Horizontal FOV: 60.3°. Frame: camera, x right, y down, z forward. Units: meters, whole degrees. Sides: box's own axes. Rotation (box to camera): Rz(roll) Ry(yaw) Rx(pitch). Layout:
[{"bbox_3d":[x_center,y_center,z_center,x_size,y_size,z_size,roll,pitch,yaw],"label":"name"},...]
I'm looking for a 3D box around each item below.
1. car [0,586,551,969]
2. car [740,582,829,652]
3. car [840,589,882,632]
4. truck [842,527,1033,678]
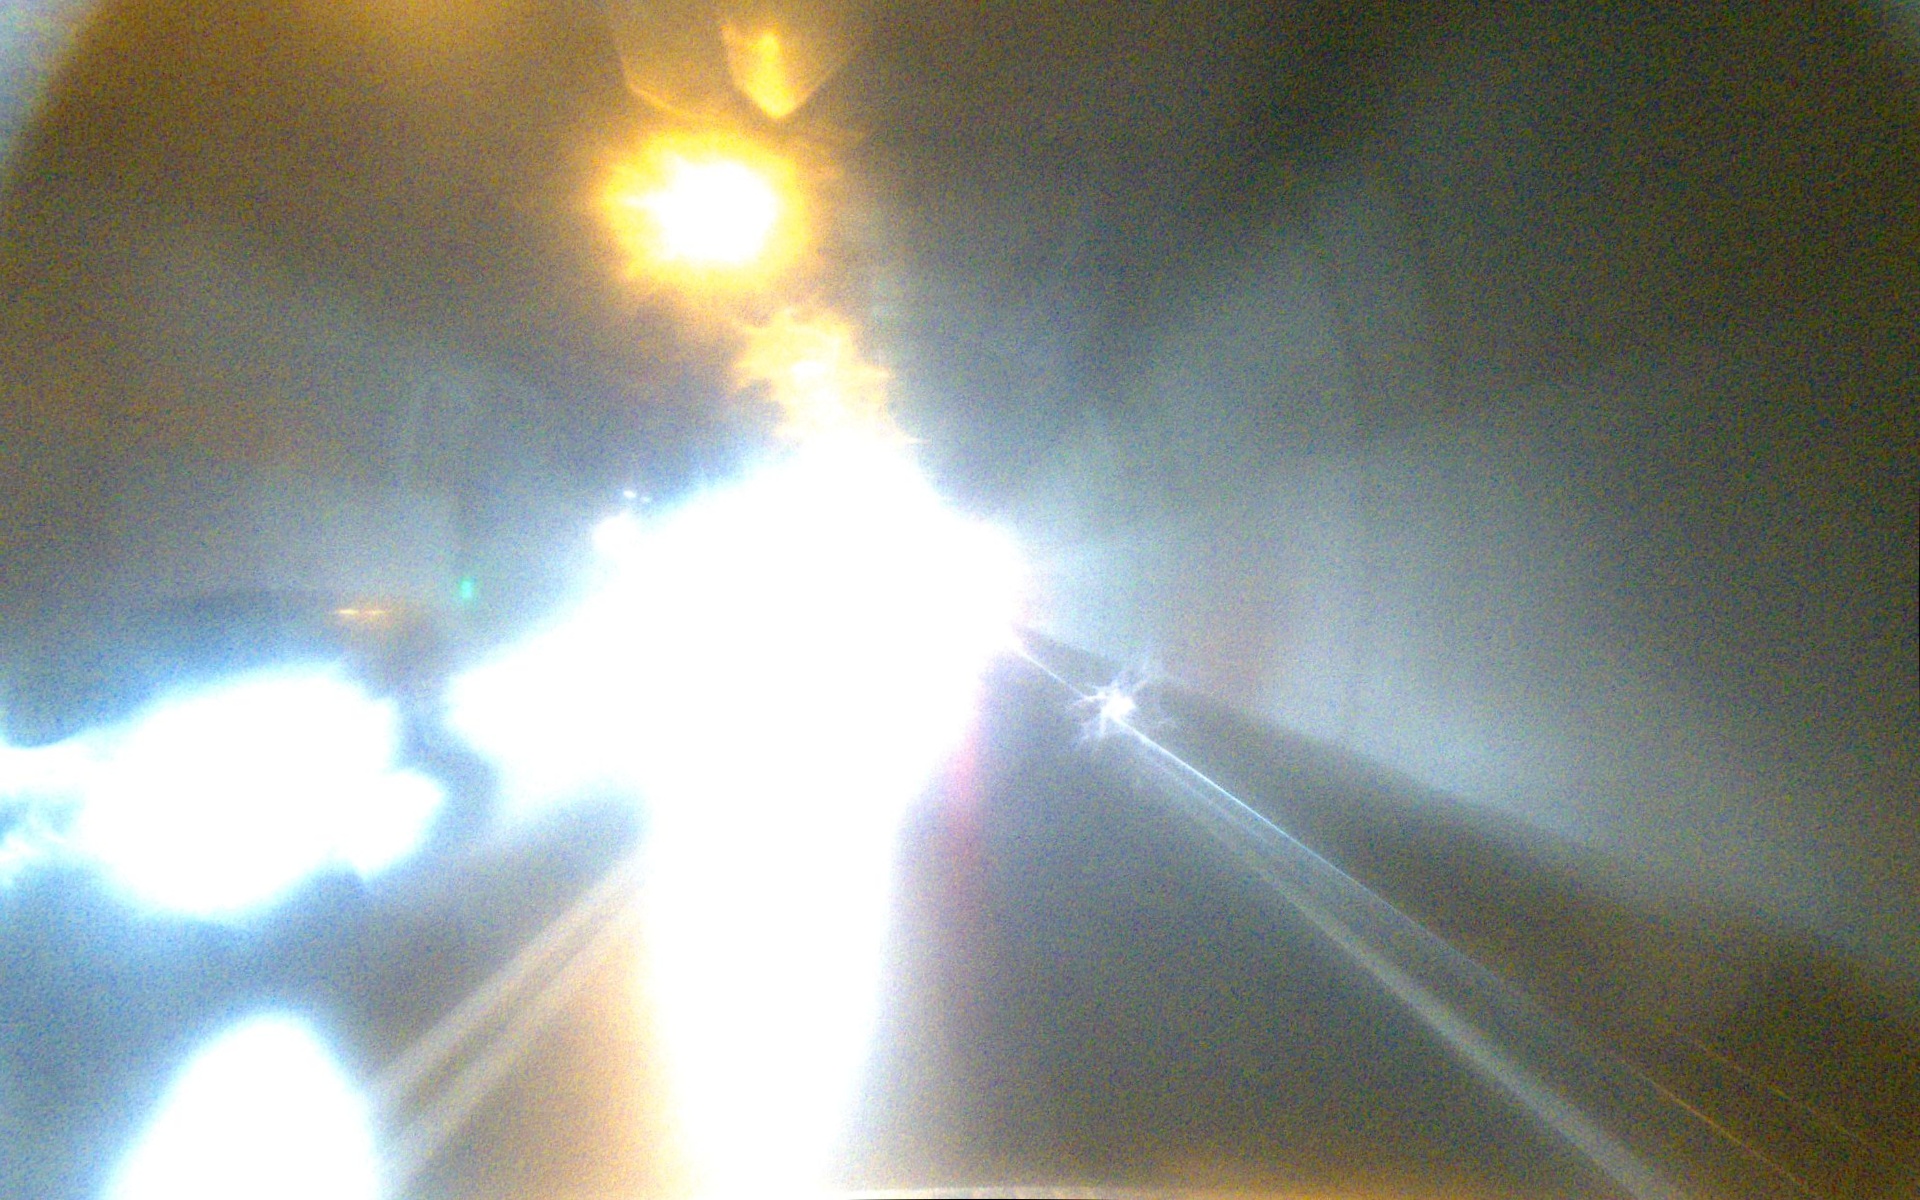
[{"bbox_3d":[-3.384,0.680,8.363,1.700,1.466,3.835,1,0,-1],"label":"car"},{"bbox_3d":[-3.952,0.353,37.750,1.724,1.506,3.885,-1,1,-2],"label":"car"},{"bbox_3d":[-4.406,0.470,74.215,1.694,1.823,3.931,1,0,-1],"label":"car"},{"bbox_3d":[-0.460,0.026,34.434,3.463,2.740,8.954,0,0,-1],"label":"truck"}]
